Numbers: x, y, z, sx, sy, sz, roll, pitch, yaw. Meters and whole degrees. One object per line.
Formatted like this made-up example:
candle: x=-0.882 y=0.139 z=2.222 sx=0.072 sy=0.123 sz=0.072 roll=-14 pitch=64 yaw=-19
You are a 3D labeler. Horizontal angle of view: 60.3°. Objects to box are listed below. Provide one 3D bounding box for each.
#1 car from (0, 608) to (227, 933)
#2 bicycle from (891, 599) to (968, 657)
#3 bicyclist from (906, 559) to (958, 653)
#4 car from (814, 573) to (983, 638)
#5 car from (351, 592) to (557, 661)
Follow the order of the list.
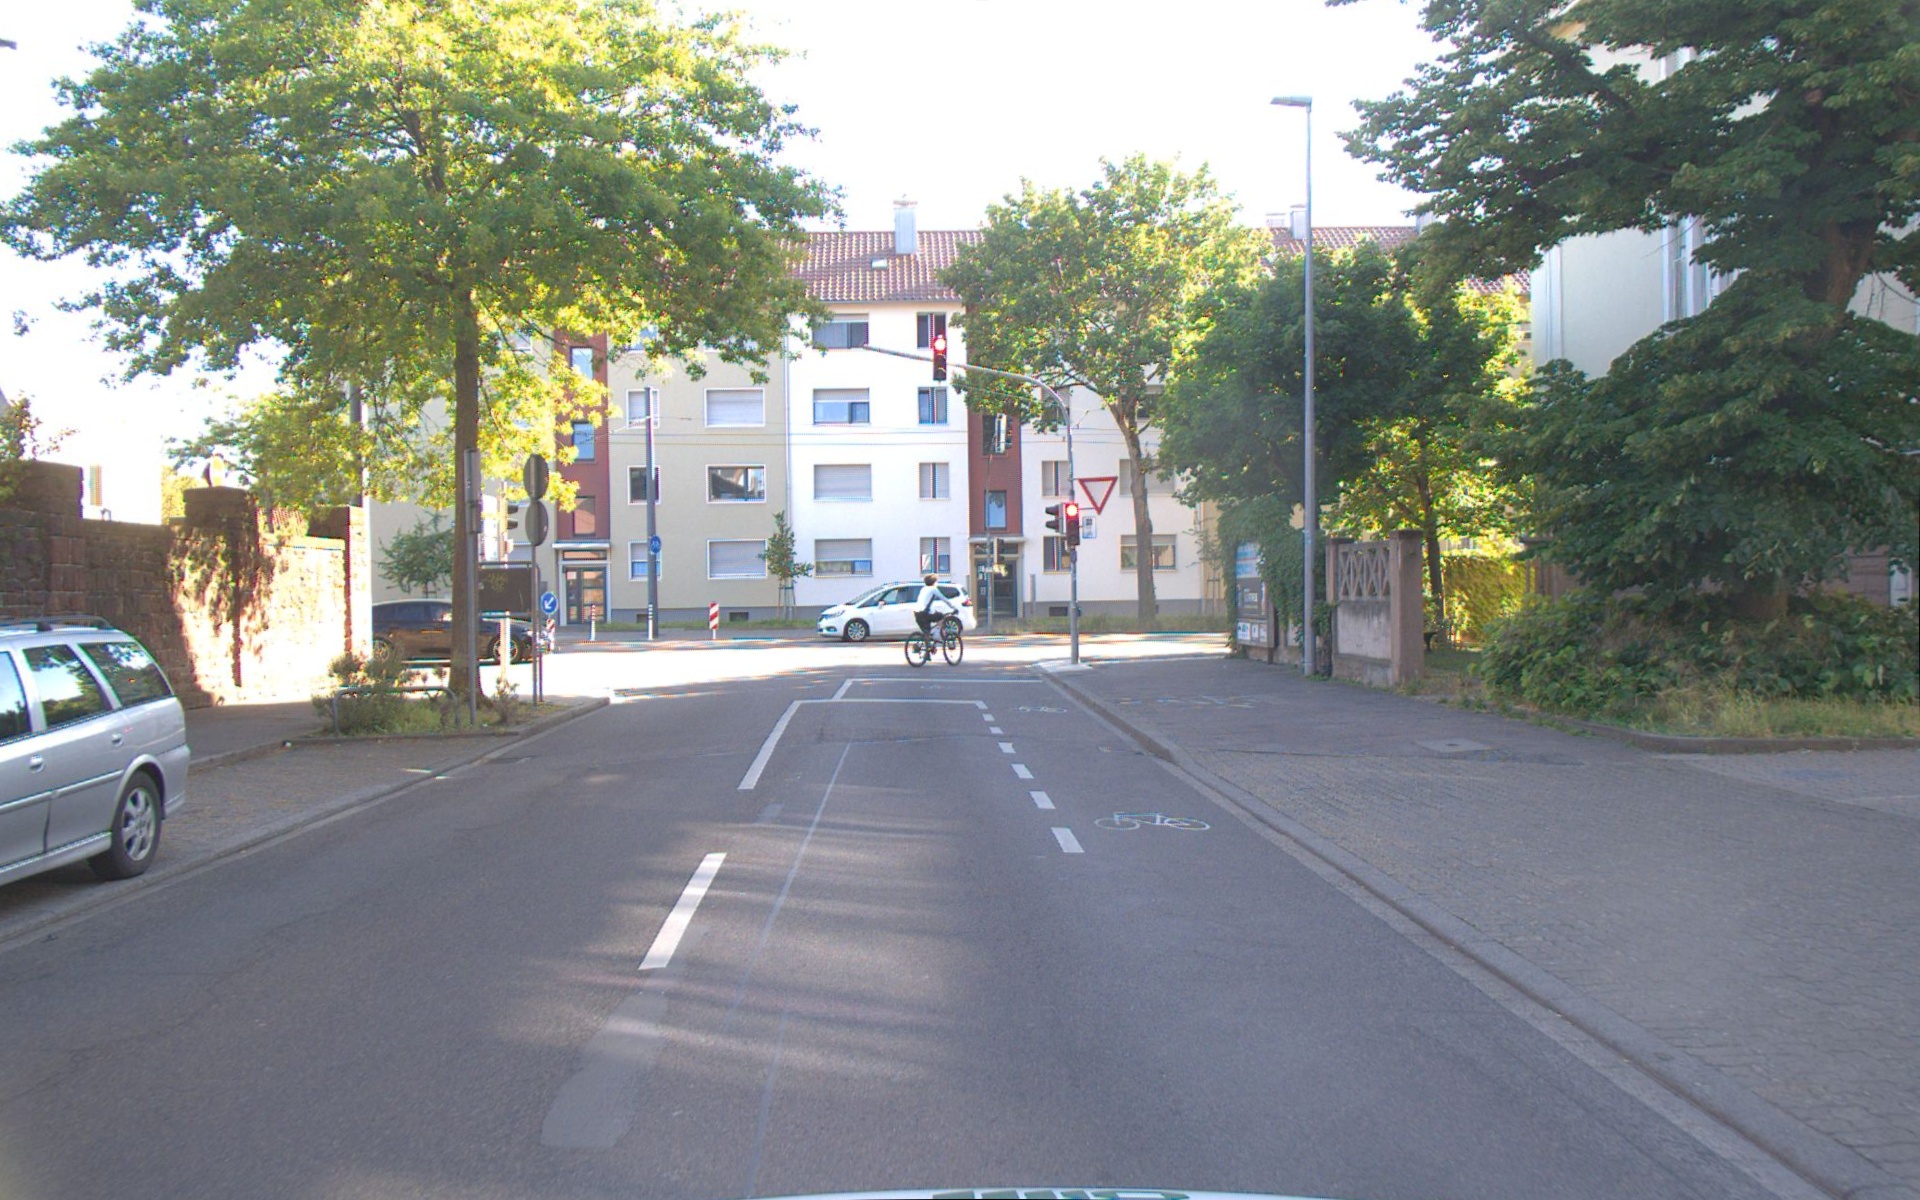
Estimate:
car: x=-5.443 y=0.825 z=8.256 sx=1.691 sy=1.501 sz=4.476 roll=1 pitch=0 yaw=-2
bicycle: x=-0.578 y=0.535 z=32.134 sx=1.675 sy=1.099 sz=0.346 roll=1 pitch=0 yaw=-43
bicyclist: x=-0.539 y=0.105 z=32.191 sx=0.782 sy=1.787 sz=0.603 roll=-2 pitch=1 yaw=-42
car: x=-1.786 y=0.142 z=47.606 sx=4.582 sy=1.770 sz=1.993 roll=-1 pitch=0 yaw=-14
car: x=-11.058 y=0.549 z=36.415 sx=4.117 sy=1.446 sz=1.849 roll=0 pitch=1 yaw=-10
